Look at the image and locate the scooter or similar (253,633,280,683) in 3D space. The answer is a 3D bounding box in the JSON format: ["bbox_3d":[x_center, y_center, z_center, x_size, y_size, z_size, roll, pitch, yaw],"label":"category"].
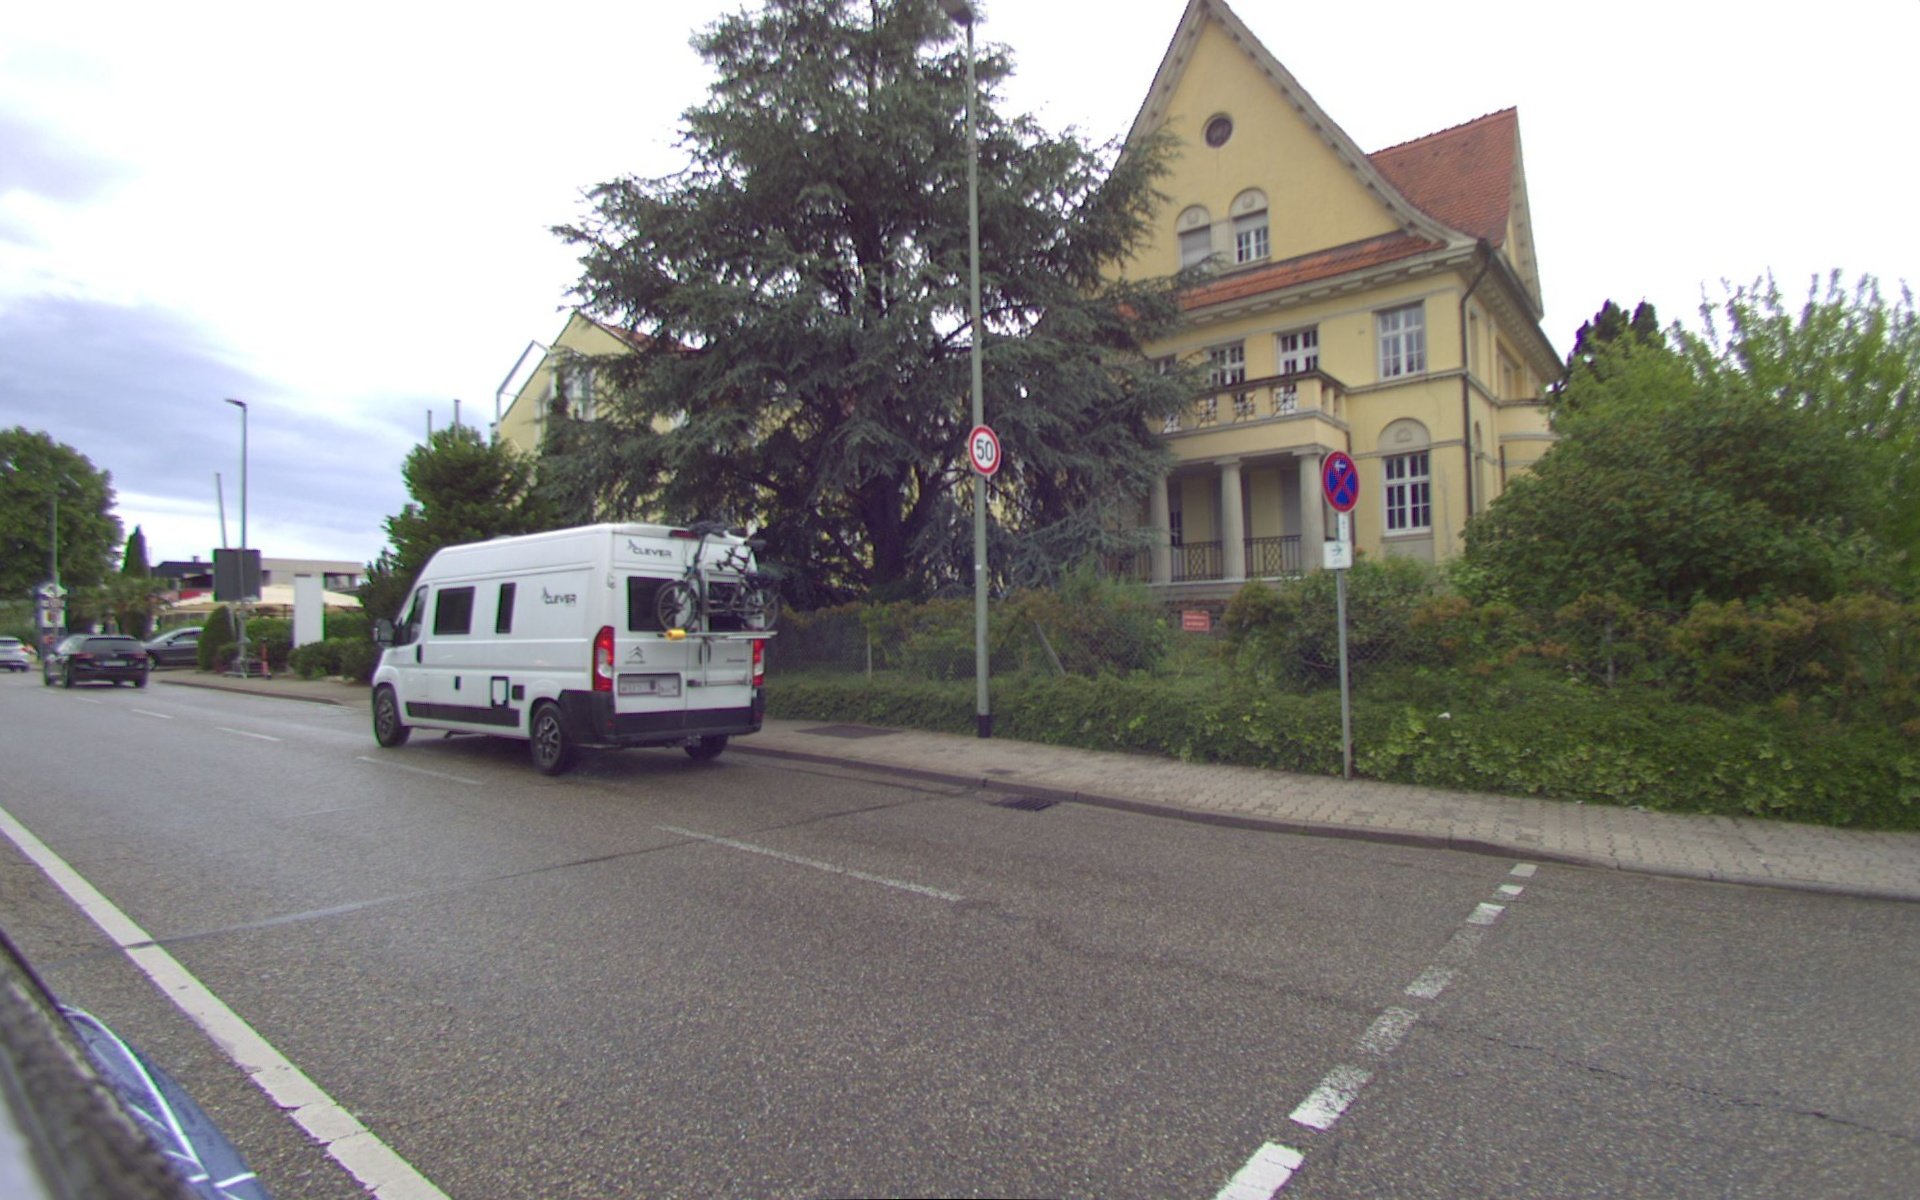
[{"bbox_3d":[-20.491,1.698,29.880,0.498,1.416,1.884,1,-2,-39],"label":"scooter or similar"}]

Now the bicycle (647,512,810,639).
[{"bbox_3d":[-2.253,-0.194,10.013,0.467,1.134,1.620,-2,-4,39],"label":"bicycle"}]

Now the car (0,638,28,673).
[{"bbox_3d":[-40.373,2.303,42.162,3.797,1.408,1.729,-1,-2,39],"label":"car"}]

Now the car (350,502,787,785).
[{"bbox_3d":[-4.793,0.471,11.868,5.768,2.547,2.274,-2,-2,40],"label":"car"}]

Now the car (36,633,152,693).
[{"bbox_3d":[-24.488,1.710,28.566,4.468,1.513,1.758,-1,-2,40],"label":"car"}]

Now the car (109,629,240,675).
[{"bbox_3d":[-30.525,1.975,39.384,3.876,1.664,1.720,1,-2,-44],"label":"car"}]
